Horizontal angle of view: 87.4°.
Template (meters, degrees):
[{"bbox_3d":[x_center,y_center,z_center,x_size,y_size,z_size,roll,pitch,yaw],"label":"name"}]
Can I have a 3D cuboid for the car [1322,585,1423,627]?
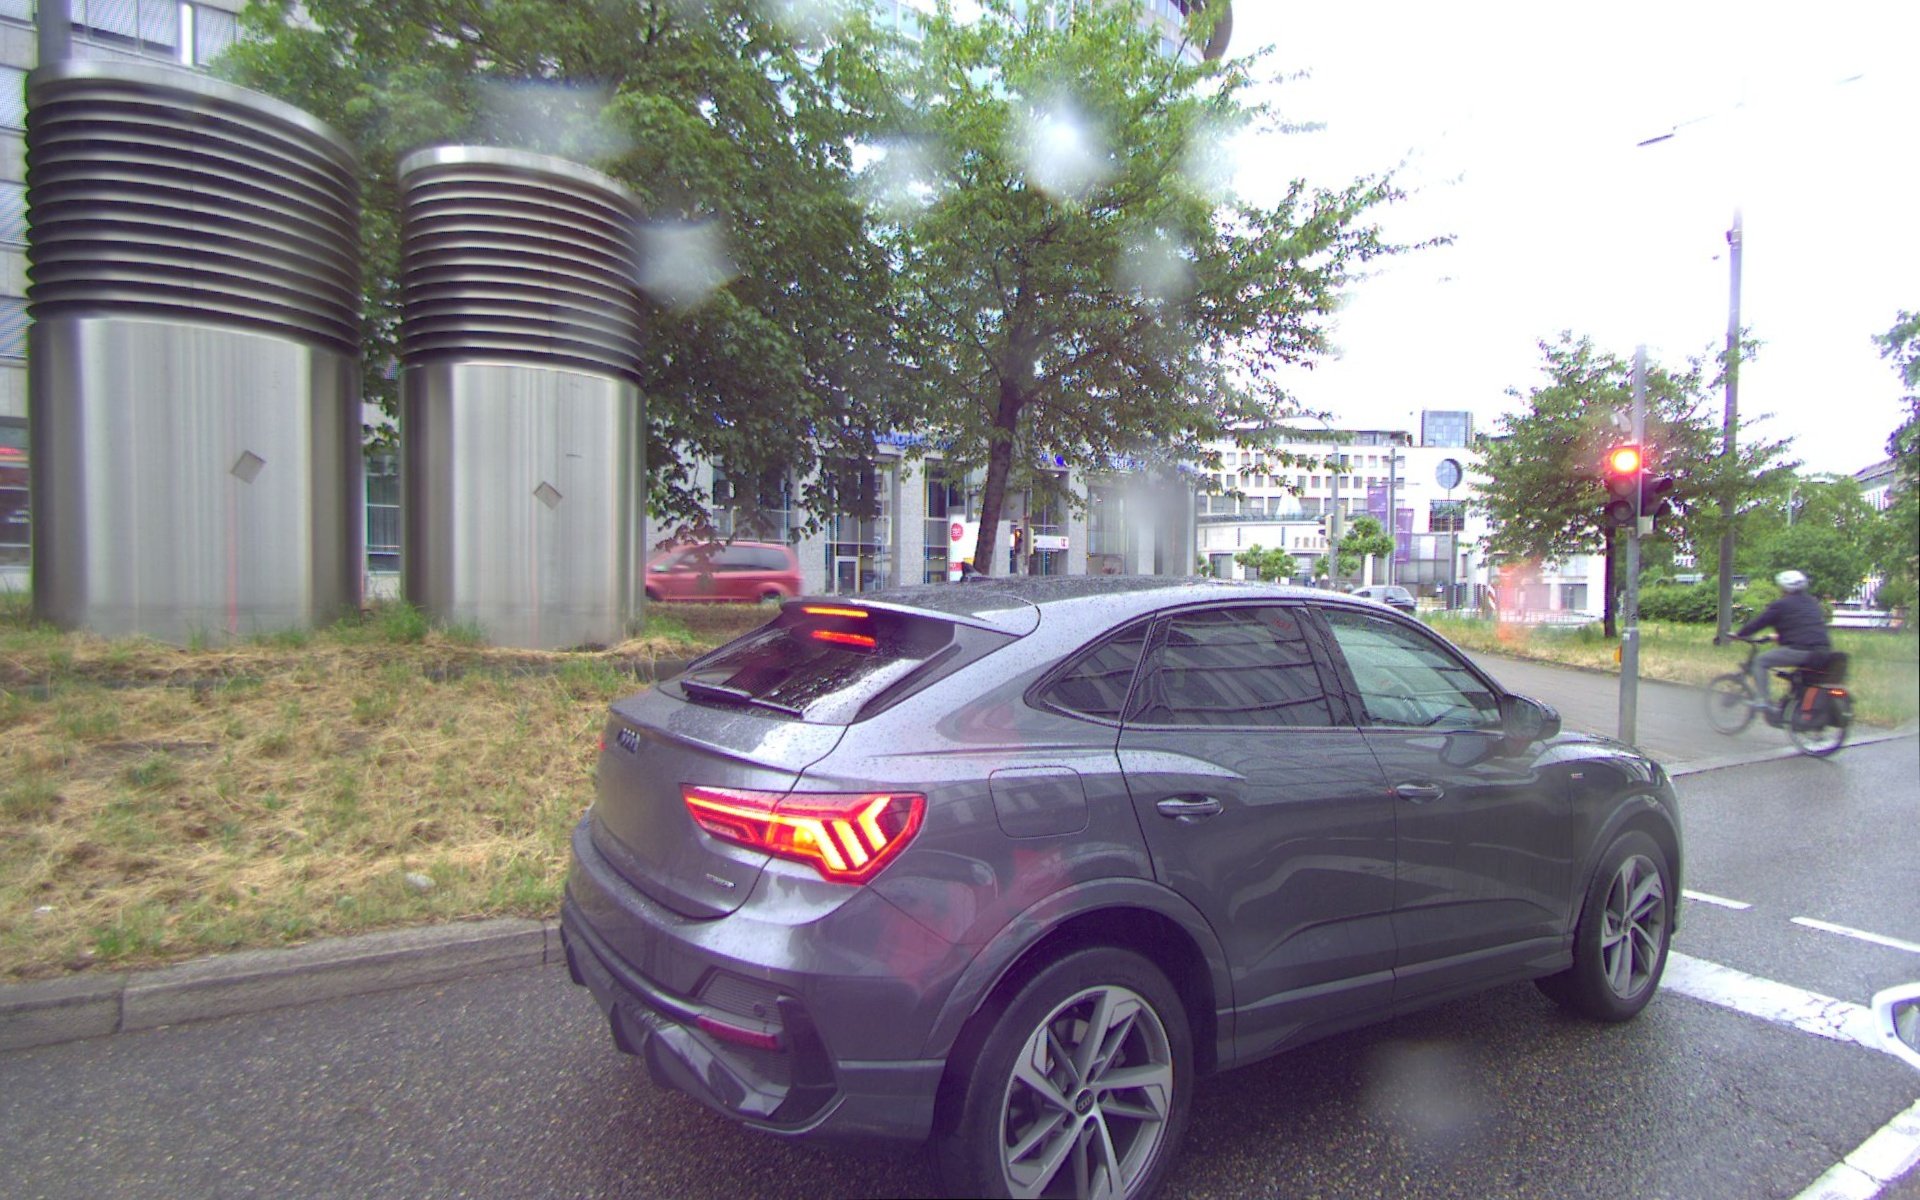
[{"bbox_3d":[16.342,0.260,39.720,4.347,1.506,1.789,1,2,-40],"label":"car"}]

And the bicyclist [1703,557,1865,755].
[{"bbox_3d":[9.274,0.595,11.364,0.748,2.111,1.084,1,4,-5],"label":"bicyclist"}]

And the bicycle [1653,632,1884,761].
[{"bbox_3d":[9.243,1.053,11.629,0.748,1.161,2.130,1,3,-5],"label":"bicycle"}]

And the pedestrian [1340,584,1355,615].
[{"bbox_3d":[23.074,-0.029,59.853,0.613,1.786,0.721,-1,-2,45],"label":"pedestrian"}]

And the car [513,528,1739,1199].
[{"bbox_3d":[0.835,0.685,3.592,4.208,1.638,1.836,0,2,-34],"label":"car"}]

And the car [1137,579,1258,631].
[{"bbox_3d":[7.629,0.167,32.137,3.970,1.506,1.788,1,3,-42],"label":"car"}]

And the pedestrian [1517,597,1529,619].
[{"bbox_3d":[52.135,0.719,93.064,0.779,2.041,0.738,4,3,36],"label":"pedestrian"}]

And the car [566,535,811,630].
[{"bbox_3d":[-5.487,-0.318,20.627,4.543,1.750,1.710,1,1,-39],"label":"car"}]

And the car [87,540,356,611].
[{"bbox_3d":[-15.529,-0.481,21.362,4.435,1.343,1.878,1,1,-37],"label":"car"}]
